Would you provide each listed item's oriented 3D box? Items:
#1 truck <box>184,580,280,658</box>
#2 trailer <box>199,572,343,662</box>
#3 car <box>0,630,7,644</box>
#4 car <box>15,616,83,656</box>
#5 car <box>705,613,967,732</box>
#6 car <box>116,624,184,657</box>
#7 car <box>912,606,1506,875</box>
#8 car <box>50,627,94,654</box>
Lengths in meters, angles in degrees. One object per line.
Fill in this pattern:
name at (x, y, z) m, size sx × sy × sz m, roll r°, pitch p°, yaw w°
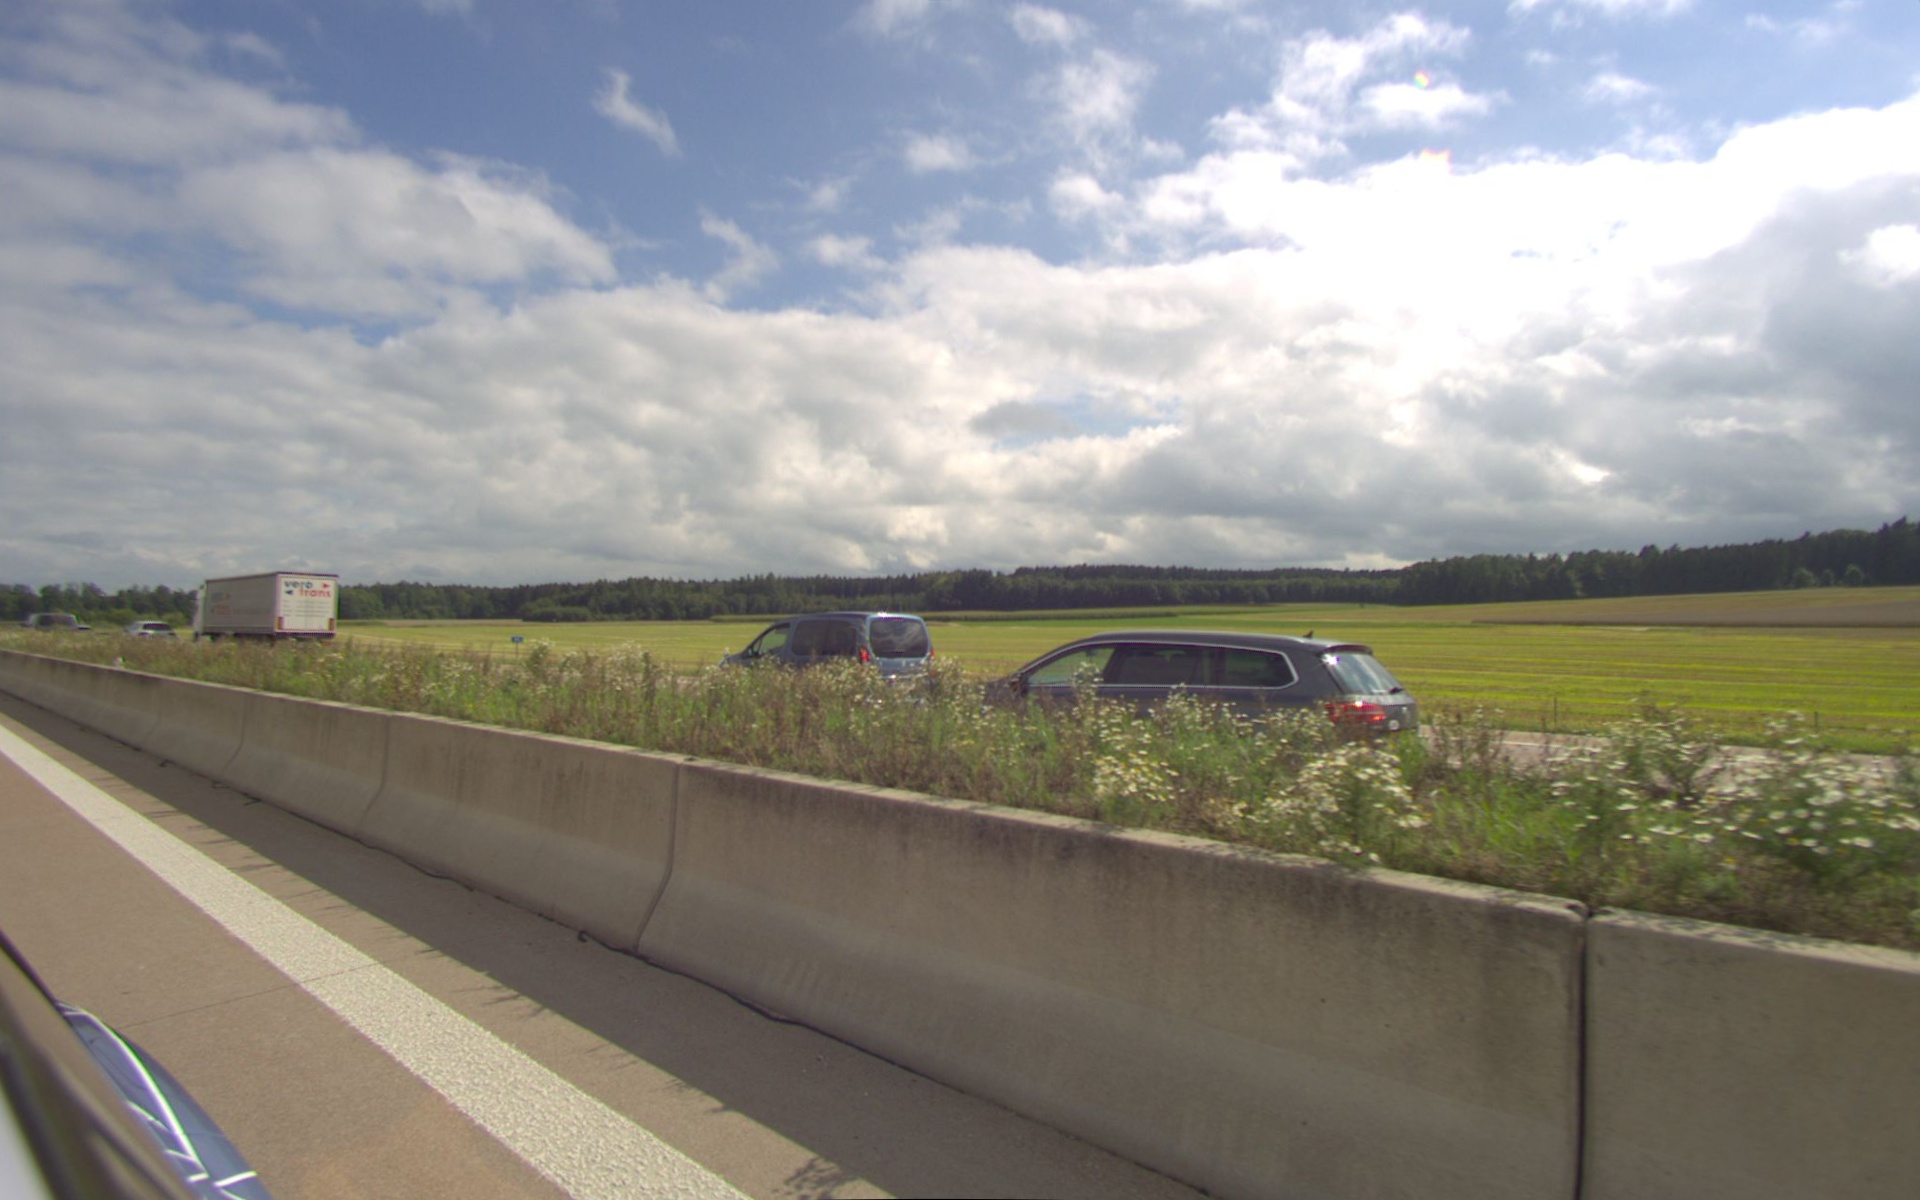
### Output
truck at (-41.260, 1.079, 57.314) m, size 6.125 × 4.129 × 3.172 m, roll -2°, pitch 0°, yaw 43°
trailer at (-35.861, 0.926, 52.324) m, size 13.256 × 4.129 × 3.173 m, roll -2°, pitch 0°, yaw 43°
car at (-109.055, 4.157, 113.962) m, size 4.270 × 1.520 × 1.974 m, roll -1°, pitch -3°, yaw 39°
car at (-48.352, 1.887, 53.686) m, size 5.243 × 2.029 × 1.973 m, roll -1°, pitch -3°, yaw 41°
car at (-2.130, 1.118, 16.730) m, size 4.254 × 1.712 × 1.973 m, roll -1°, pitch -3°, yaw 41°
car at (-43.703, 2.152, 54.546) m, size 4.782 × 1.670 × 1.973 m, roll -1°, pitch -3°, yaw 41°
car at (1.925, 0.977, 8.748) m, size 4.596 × 1.712 × 1.972 m, roll -1°, pitch -3°, yaw 41°
car at (-62.729, 2.833, 71.476) m, size 4.469 × 1.761 × 1.754 m, roll -2°, pitch 0°, yaw 41°
